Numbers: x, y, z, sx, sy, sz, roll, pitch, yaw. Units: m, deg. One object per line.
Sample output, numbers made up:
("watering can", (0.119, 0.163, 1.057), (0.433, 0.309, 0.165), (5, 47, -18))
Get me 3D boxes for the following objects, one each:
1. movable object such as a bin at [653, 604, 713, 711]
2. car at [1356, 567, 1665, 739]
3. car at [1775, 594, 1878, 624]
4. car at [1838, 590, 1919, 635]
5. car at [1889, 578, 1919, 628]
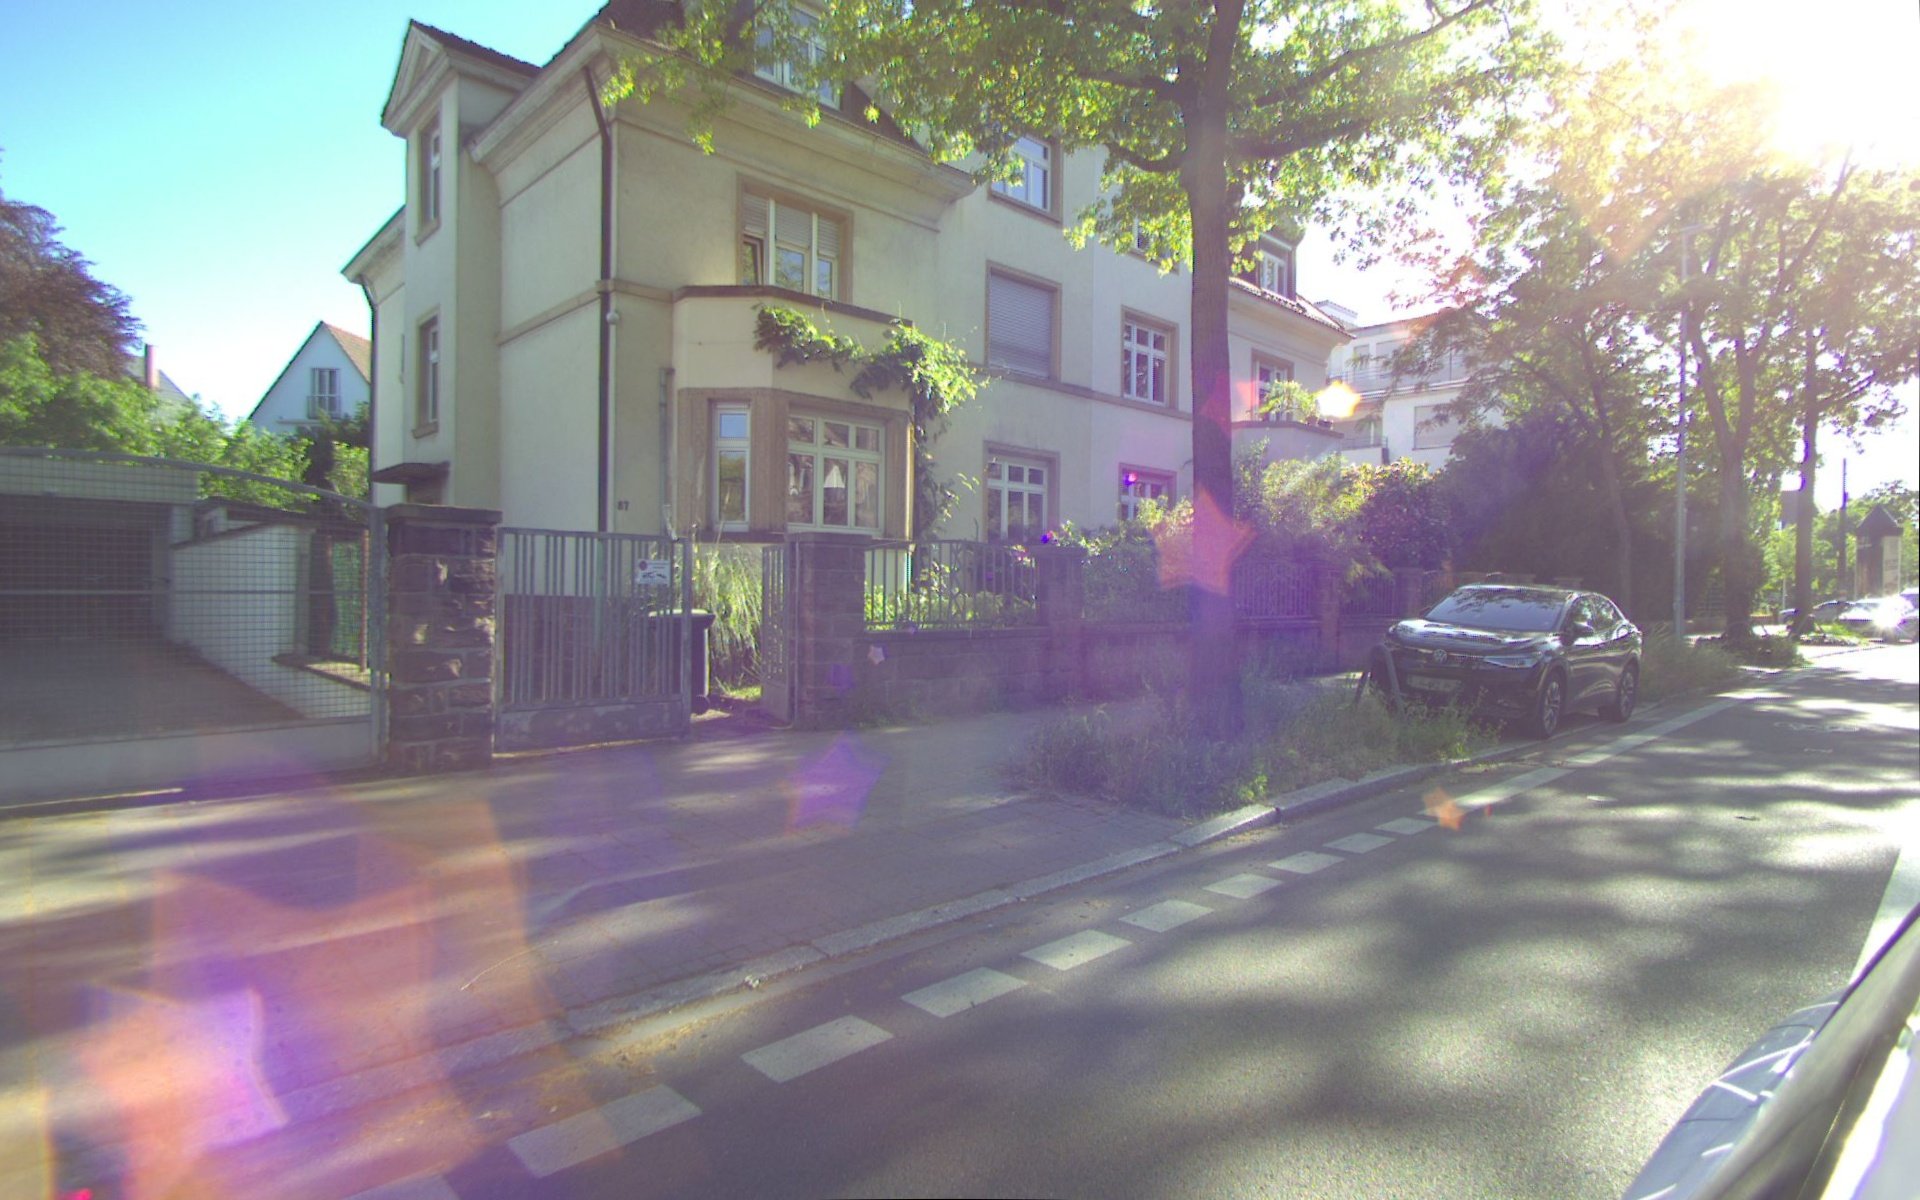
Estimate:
("movable object such as a bin", (-2.929, 0.586, 10.674), (0.551, 1.062, 0.676), (0, 0, -20))
("car", (6.703, 0.495, 12.139), (4.186, 1.619, 1.917), (0, 4, -42))
("car", (46.061, 0.451, 53.842), (1.784, 1.459, 3.990), (0, 1, -44))
("car", (31.506, 0.378, 34.277), (4.181, 1.427, 1.901), (0, 1, -38))
("car", (36.666, 0.124, 37.859), (4.580, 1.808, 1.903), (0, 1, -35))
